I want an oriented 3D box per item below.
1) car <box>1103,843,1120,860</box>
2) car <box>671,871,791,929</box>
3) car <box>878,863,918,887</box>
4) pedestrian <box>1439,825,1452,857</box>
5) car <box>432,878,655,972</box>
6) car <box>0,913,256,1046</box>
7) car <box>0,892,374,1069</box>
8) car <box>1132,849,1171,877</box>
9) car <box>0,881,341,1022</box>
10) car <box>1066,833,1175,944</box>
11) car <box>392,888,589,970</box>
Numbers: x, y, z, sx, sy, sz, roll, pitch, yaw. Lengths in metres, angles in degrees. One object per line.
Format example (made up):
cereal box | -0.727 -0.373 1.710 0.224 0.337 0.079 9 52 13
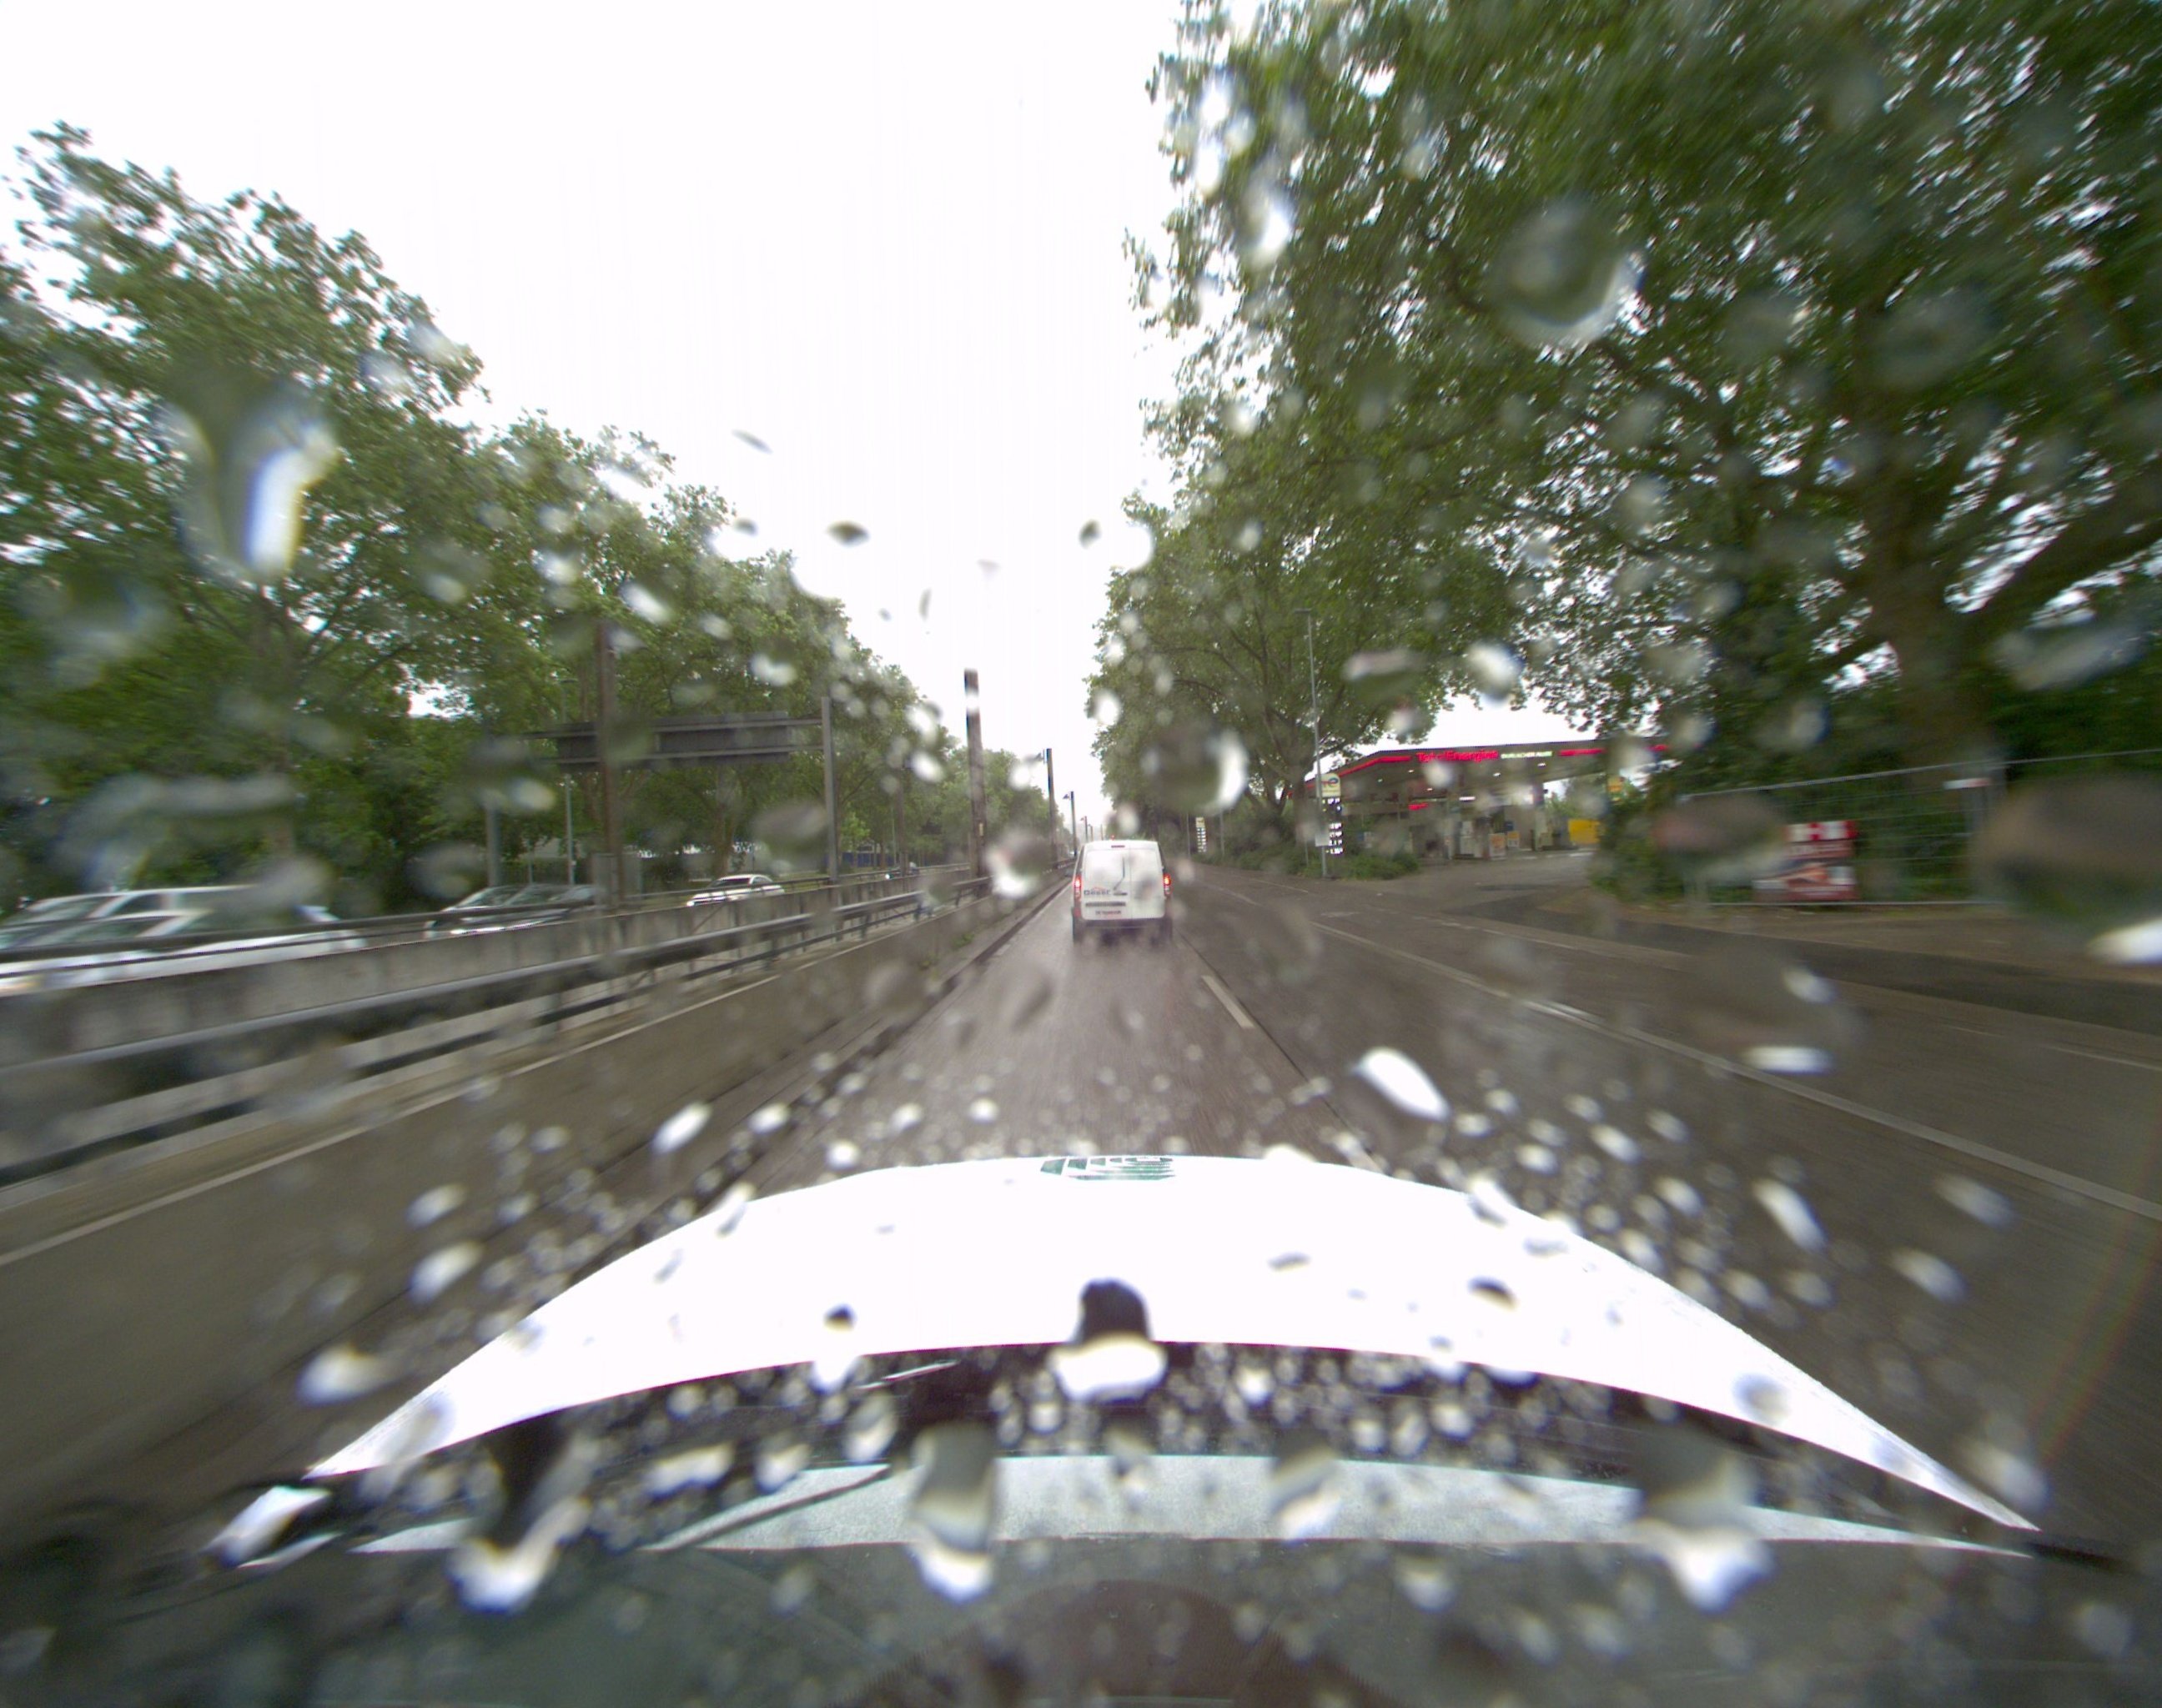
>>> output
car | 4.119 -0.283 109.963 2.040 2.140 4.003 -3 0 3
car | -11.659 1.480 27.543 1.987 1.632 4.580 -3 0 0
car | -13.773 1.569 61.496 1.899 1.571 4.003 -3 0 3
pedestrian | 20.302 -0.715 45.377 0.549 1.725 0.729 -4 0 21
car | -11.611 1.455 17.999 1.985 1.632 4.091 -3 0 3
car | -15.518 1.857 11.981 1.972 1.574 4.551 -3 0 1
car | -11.897 1.449 10.420 1.986 1.632 4.089 -3 0 1
car | 4.410 0.558 51.657 1.988 1.585 3.998 -4 -1 -1
car | -18.067 1.760 16.338 1.746 2.170 4.852 -4 0 3
car | 0.672 0.549 15.301 1.750 1.777 4.000 -1 0 1
car | -14.816 1.816 20.768 1.840 1.632 4.091 -3 0 3
